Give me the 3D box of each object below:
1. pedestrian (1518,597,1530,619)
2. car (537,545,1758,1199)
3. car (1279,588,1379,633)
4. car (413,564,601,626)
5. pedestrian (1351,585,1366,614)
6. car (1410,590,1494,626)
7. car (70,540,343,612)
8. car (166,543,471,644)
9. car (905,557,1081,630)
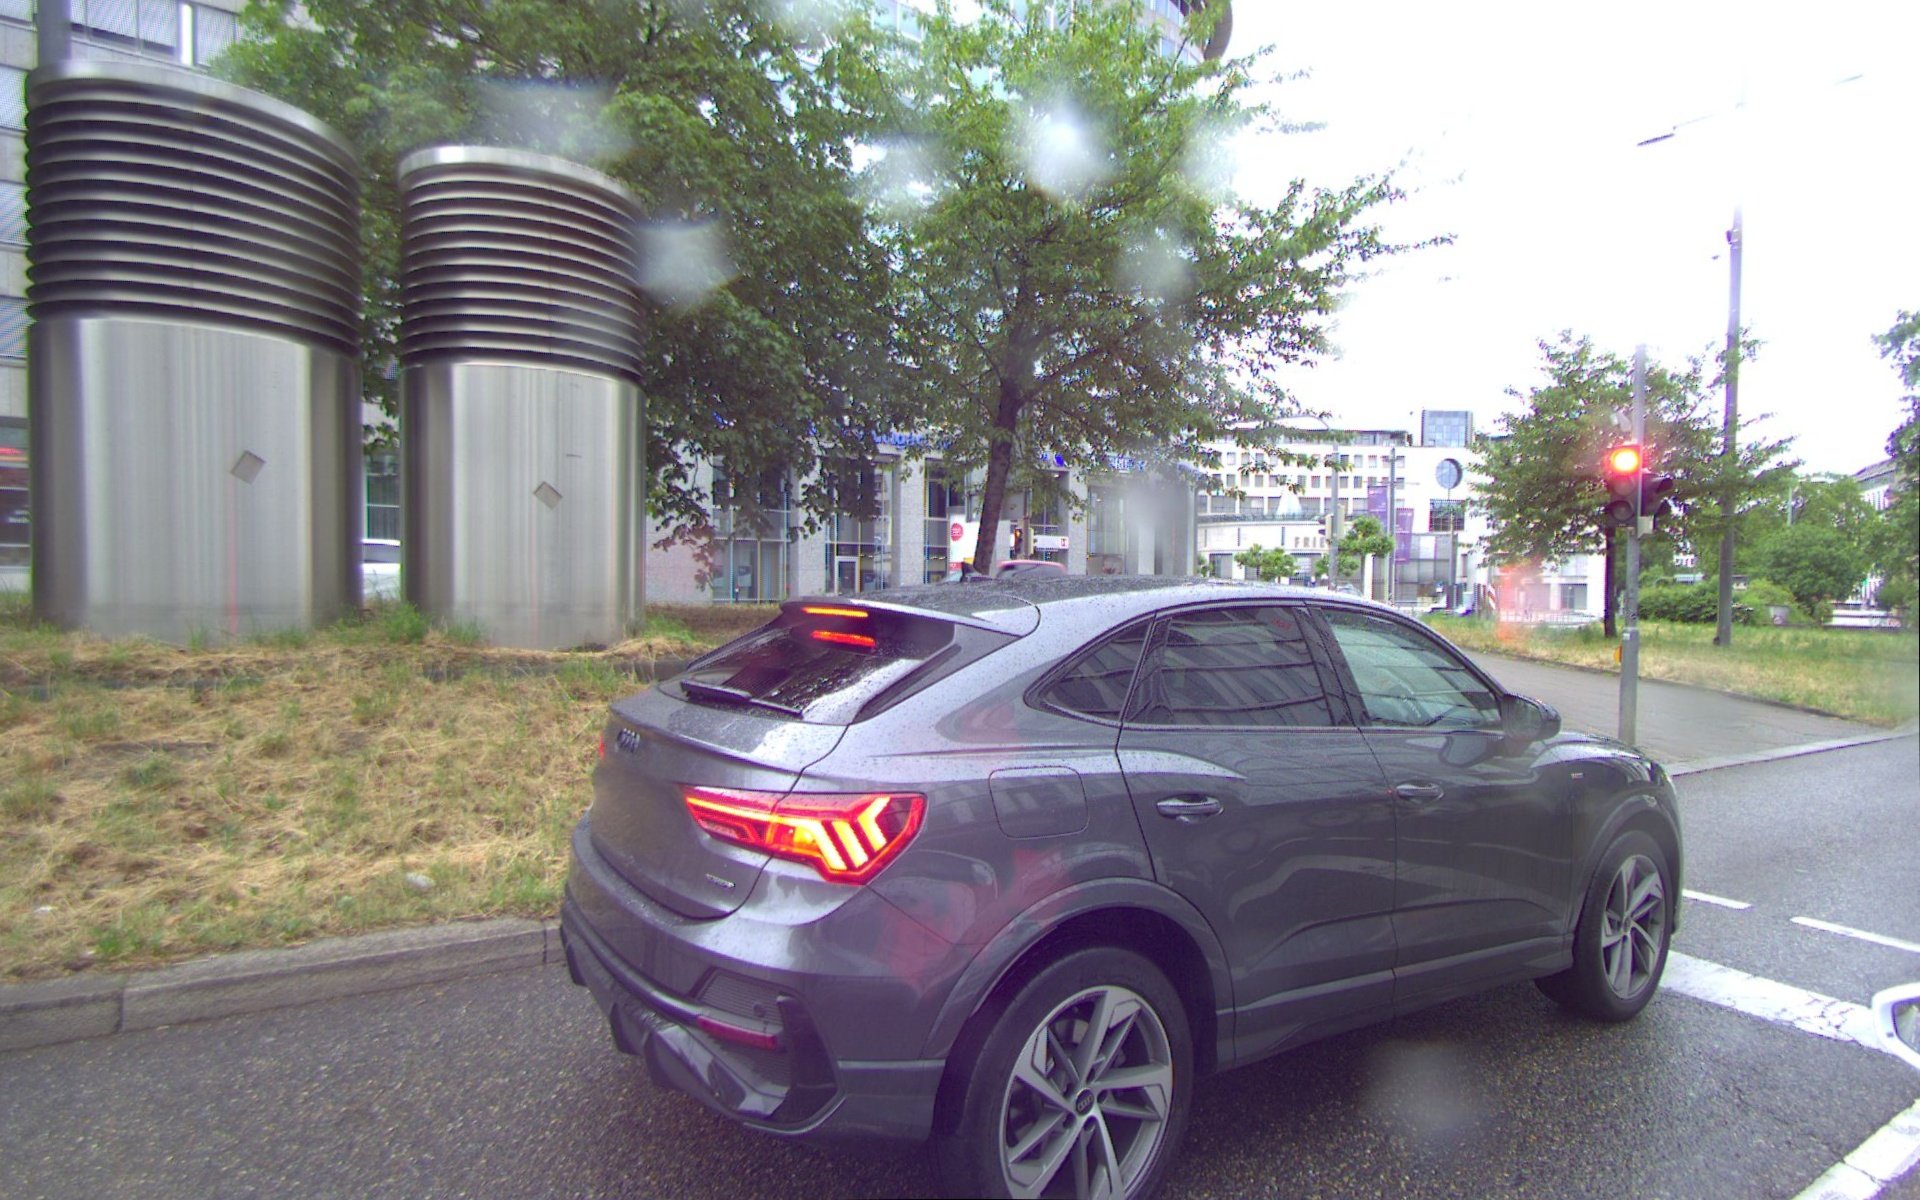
[{"bbox_3d":[52.720,0.738,93.888,0.780,2.041,0.736,4,3,41],"label":"pedestrian"},{"bbox_3d":[0.905,0.713,3.597,4.207,1.638,1.836,0,2,-34],"label":"car"},{"bbox_3d":[13.853,0.379,37.602,3.969,1.506,1.788,1,3,-41],"label":"car"},{"bbox_3d":[-11.141,-0.113,24.782,3.977,1.420,1.763,0,1,-36],"label":"car"},{"bbox_3d":[24.212,-0.027,61.081,0.613,1.786,0.721,-1,-2,44],"label":"pedestrian"},{"bbox_3d":[22.555,0.362,45.973,4.347,1.506,1.789,1,2,-40],"label":"car"},{"bbox_3d":[-15.715,-0.455,21.208,4.435,1.343,1.878,1,1,-37],"label":"car"},{"bbox_3d":[-10.689,-0.097,16.895,4.157,1.495,1.805,1,1,-39],"label":"car"},{"bbox_3d":[0.929,-0.150,26.105,4.543,1.750,1.710,1,1,-39],"label":"car"}]
